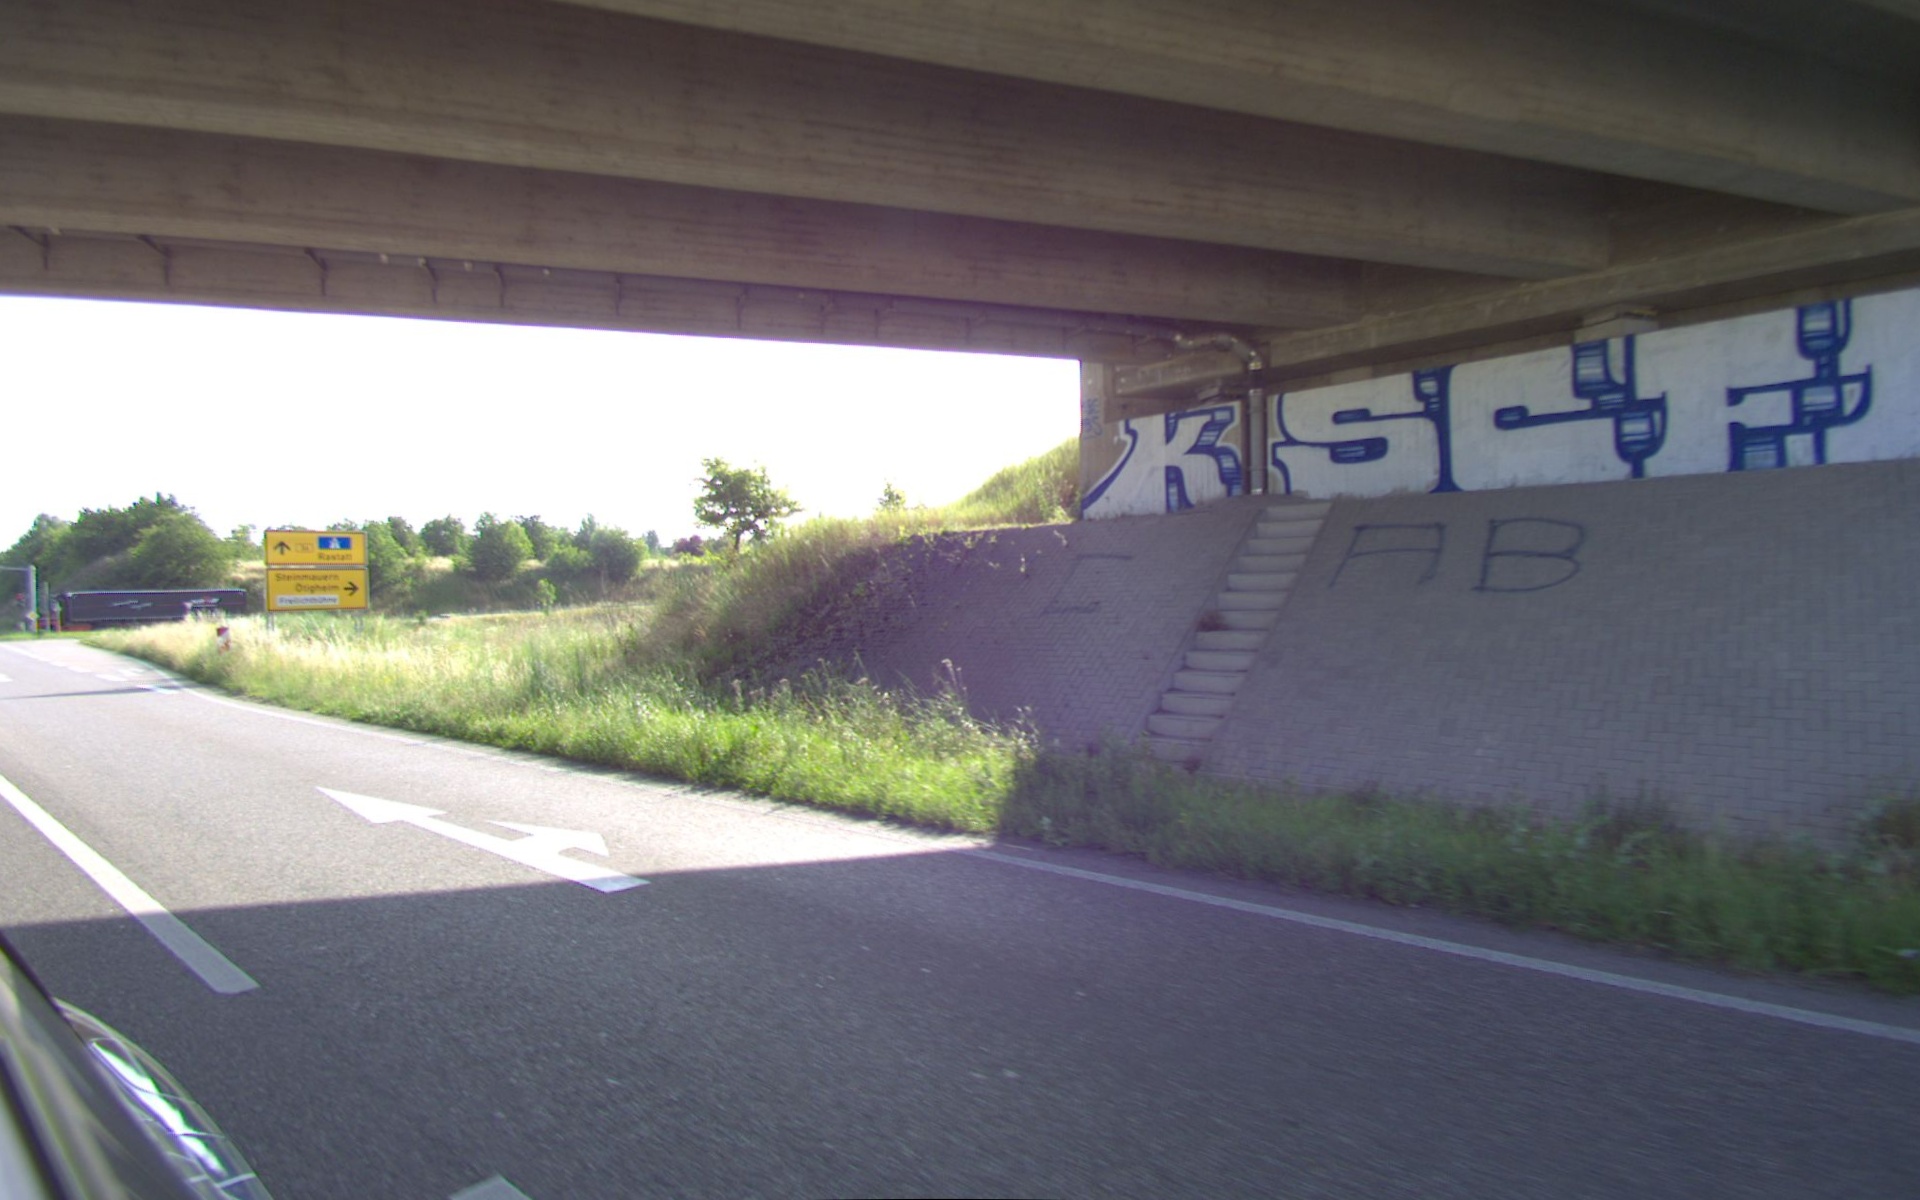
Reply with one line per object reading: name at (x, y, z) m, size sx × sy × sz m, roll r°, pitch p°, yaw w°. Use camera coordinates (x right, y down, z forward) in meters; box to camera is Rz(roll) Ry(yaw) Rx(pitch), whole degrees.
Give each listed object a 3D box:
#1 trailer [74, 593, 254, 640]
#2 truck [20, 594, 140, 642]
trailer at (-77.660, 1.500, 99.189) m, size 13.578 × 4.144 × 3.566 m, roll -2°, pitch 0°, yaw -39°
truck at (-82.627, 1.641, 95.285) m, size 8.266 × 4.144 × 3.566 m, roll -2°, pitch 0°, yaw -39°
